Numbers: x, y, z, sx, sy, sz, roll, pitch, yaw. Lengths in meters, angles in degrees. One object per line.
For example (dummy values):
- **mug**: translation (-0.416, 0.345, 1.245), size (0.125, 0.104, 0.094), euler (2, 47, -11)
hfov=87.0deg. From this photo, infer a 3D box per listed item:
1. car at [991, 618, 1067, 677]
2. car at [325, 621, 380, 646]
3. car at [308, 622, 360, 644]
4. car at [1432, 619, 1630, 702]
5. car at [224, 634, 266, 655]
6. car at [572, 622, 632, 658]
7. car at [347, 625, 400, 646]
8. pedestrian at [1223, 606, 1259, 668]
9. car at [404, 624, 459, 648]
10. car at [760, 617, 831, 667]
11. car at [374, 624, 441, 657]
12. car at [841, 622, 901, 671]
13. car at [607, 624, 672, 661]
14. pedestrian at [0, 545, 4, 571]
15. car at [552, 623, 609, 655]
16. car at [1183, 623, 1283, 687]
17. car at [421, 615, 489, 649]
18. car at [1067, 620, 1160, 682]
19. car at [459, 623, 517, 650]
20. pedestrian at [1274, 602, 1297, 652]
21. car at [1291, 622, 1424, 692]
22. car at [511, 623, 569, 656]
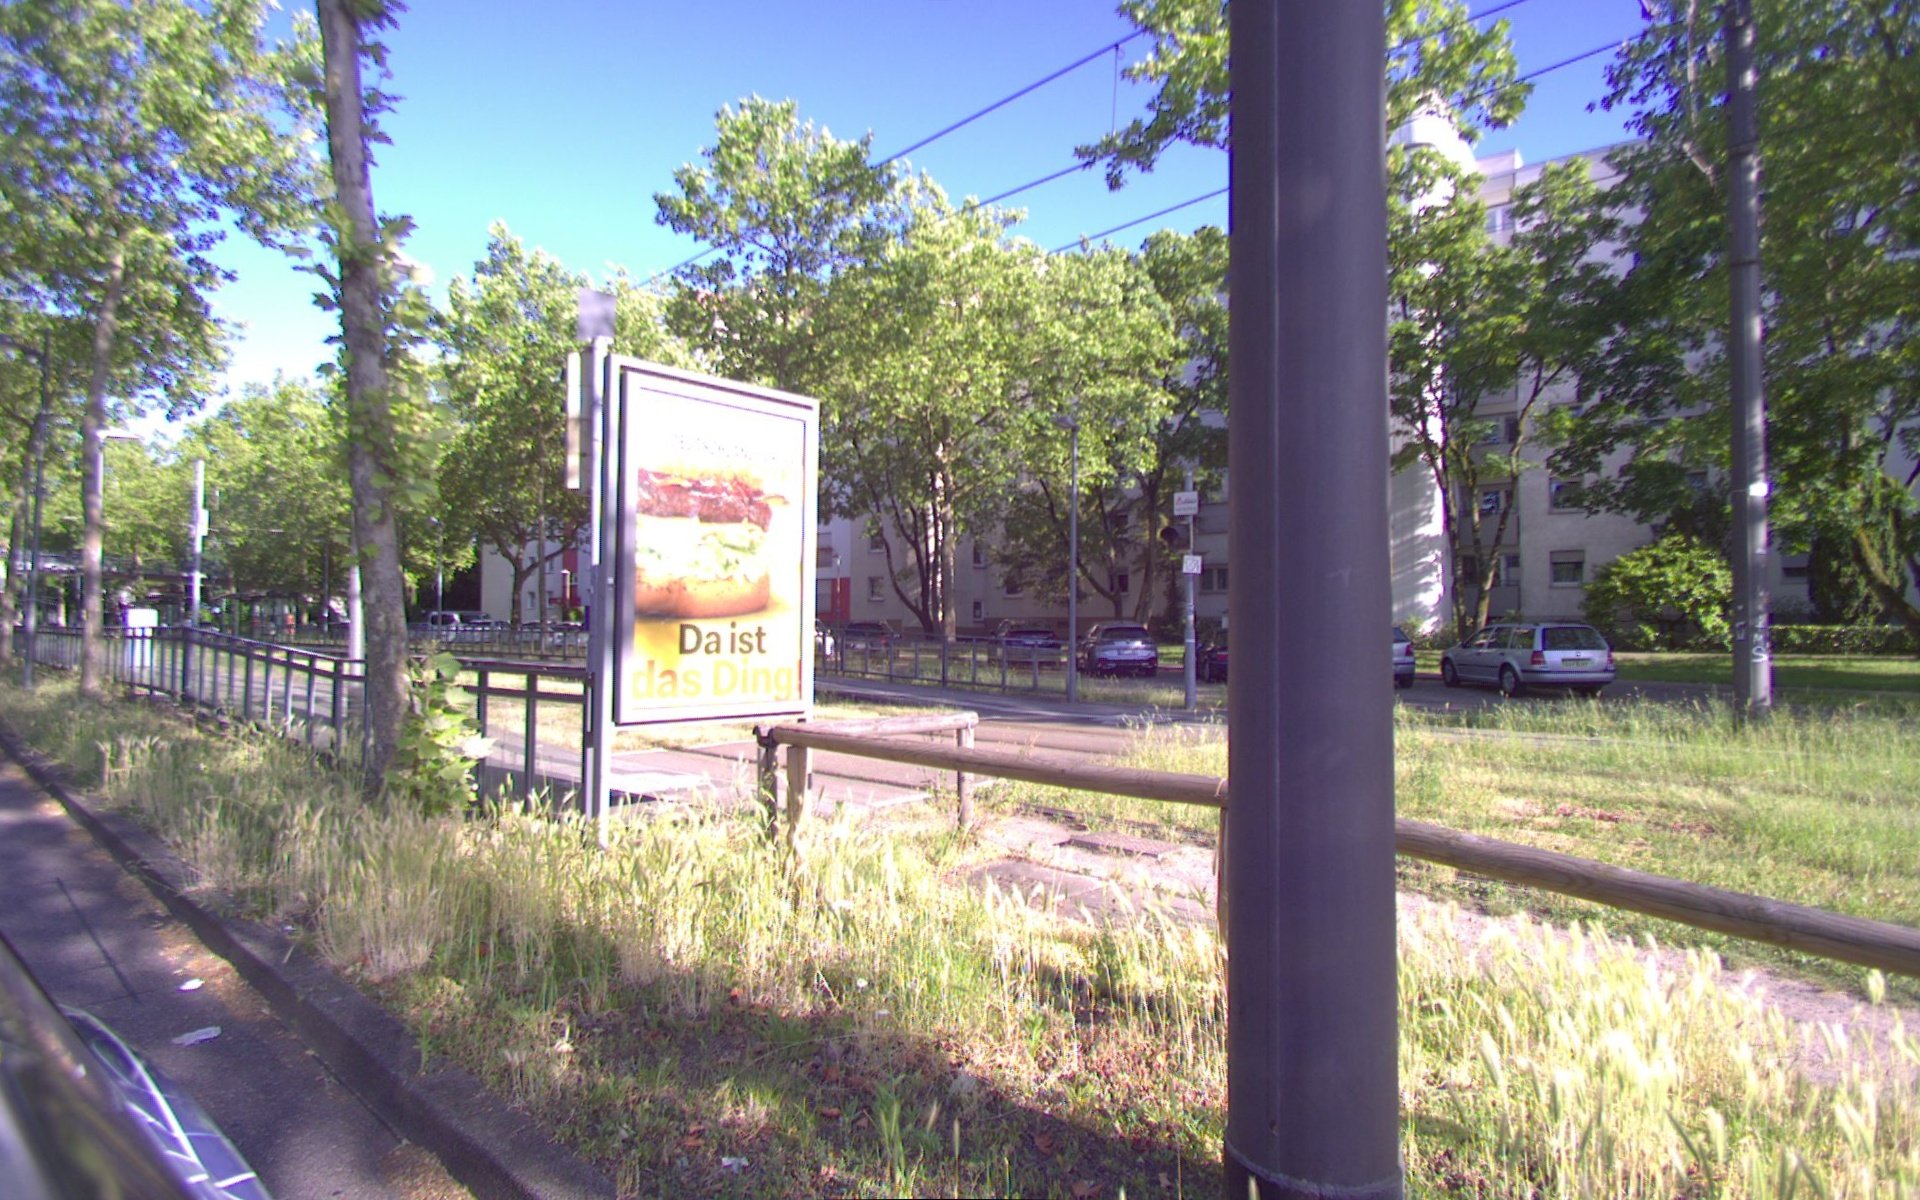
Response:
- **car**: translation (1.951, 1.340, 29.644), size (1.669, 1.499, 4.003), euler (-1, 0, -4)
- **car**: translation (-40.771, 2.219, 67.979), size (1.578, 1.582, 3.830), euler (0, -1, -3)
- **car**: translation (-44.877, 2.345, 72.587), size (1.578, 1.538, 3.737), euler (0, -1, -3)
- **car**: translation (11.525, 1.152, 20.758), size (1.685, 1.454, 3.978), euler (-1, 0, -2)
- **car**: translation (-55.413, 3.458, 78.414), size (4.100, 1.523, 1.746), euler (-1, -2, 41)
- **car**: translation (-16.569, 1.831, 47.011), size (1.445, 1.519, 3.393), euler (-1, 0, 3)
- **car**: translation (-37.513, 2.247, 64.818), size (1.459, 1.330, 3.488), euler (0, -1, -1)
- **pedestrian**: translation (8.147, 1.067, 29.353), size (0.755, 1.770, 0.752), euler (-1, -2, 41)
- **car**: translation (-30.932, 2.094, 59.367), size (1.459, 1.354, 3.488), euler (0, -1, -1)
- **car**: translation (-5.994, 1.489, 37.221), size (1.791, 1.607, 3.997), euler (-1, 0, 3)
- **car**: translation (-27.204, 1.964, 49.778), size (1.785, 1.534, 4.333), euler (1, -2, -45)
- **car**: translation (-3.004, 1.546, 34.671), size (1.538, 1.439, 3.761), euler (-1, 0, 3)
- **car**: translation (-14.027, 1.844, 44.488), size (1.470, 1.425, 3.880), euler (-1, 0, 3)
- **pedestrian**: translation (-71.707, -3.129, 75.337), size (0.511, 1.898, 0.728), euler (-1, 0, 40)
- **car**: translation (-18.509, 1.869, 49.492), size (1.459, 1.339, 3.488), euler (-2, 0, -1)
- **car**: translation (6.744, 1.321, 25.363), size (1.572, 1.360, 3.922), euler (-1, 0, 3)
- **car**: translation (-28.386, 1.793, 57.065), size (1.843, 1.826, 4.047), euler (0, -1, 0)
- **car**: translation (4.119, 1.337, 27.713), size (1.650, 1.469, 4.004), euler (-1, 0, -4)
- **car**: translation (-25.827, 1.988, 55.461), size (1.605, 1.414, 3.488), euler (0, -1, -1)
- **pedestrian**: translation (11.773, 0.970, 36.638), size (0.634, 1.770, 0.516), euler (-1, -2, 39)
- **car**: translation (9.110, 1.266, 23.503), size (1.553, 1.431, 3.620), euler (-1, -1, -1)
- **car**: translation (-21.149, 1.956, 51.070), size (1.539, 1.436, 3.489), euler (-3, 0, -2)
